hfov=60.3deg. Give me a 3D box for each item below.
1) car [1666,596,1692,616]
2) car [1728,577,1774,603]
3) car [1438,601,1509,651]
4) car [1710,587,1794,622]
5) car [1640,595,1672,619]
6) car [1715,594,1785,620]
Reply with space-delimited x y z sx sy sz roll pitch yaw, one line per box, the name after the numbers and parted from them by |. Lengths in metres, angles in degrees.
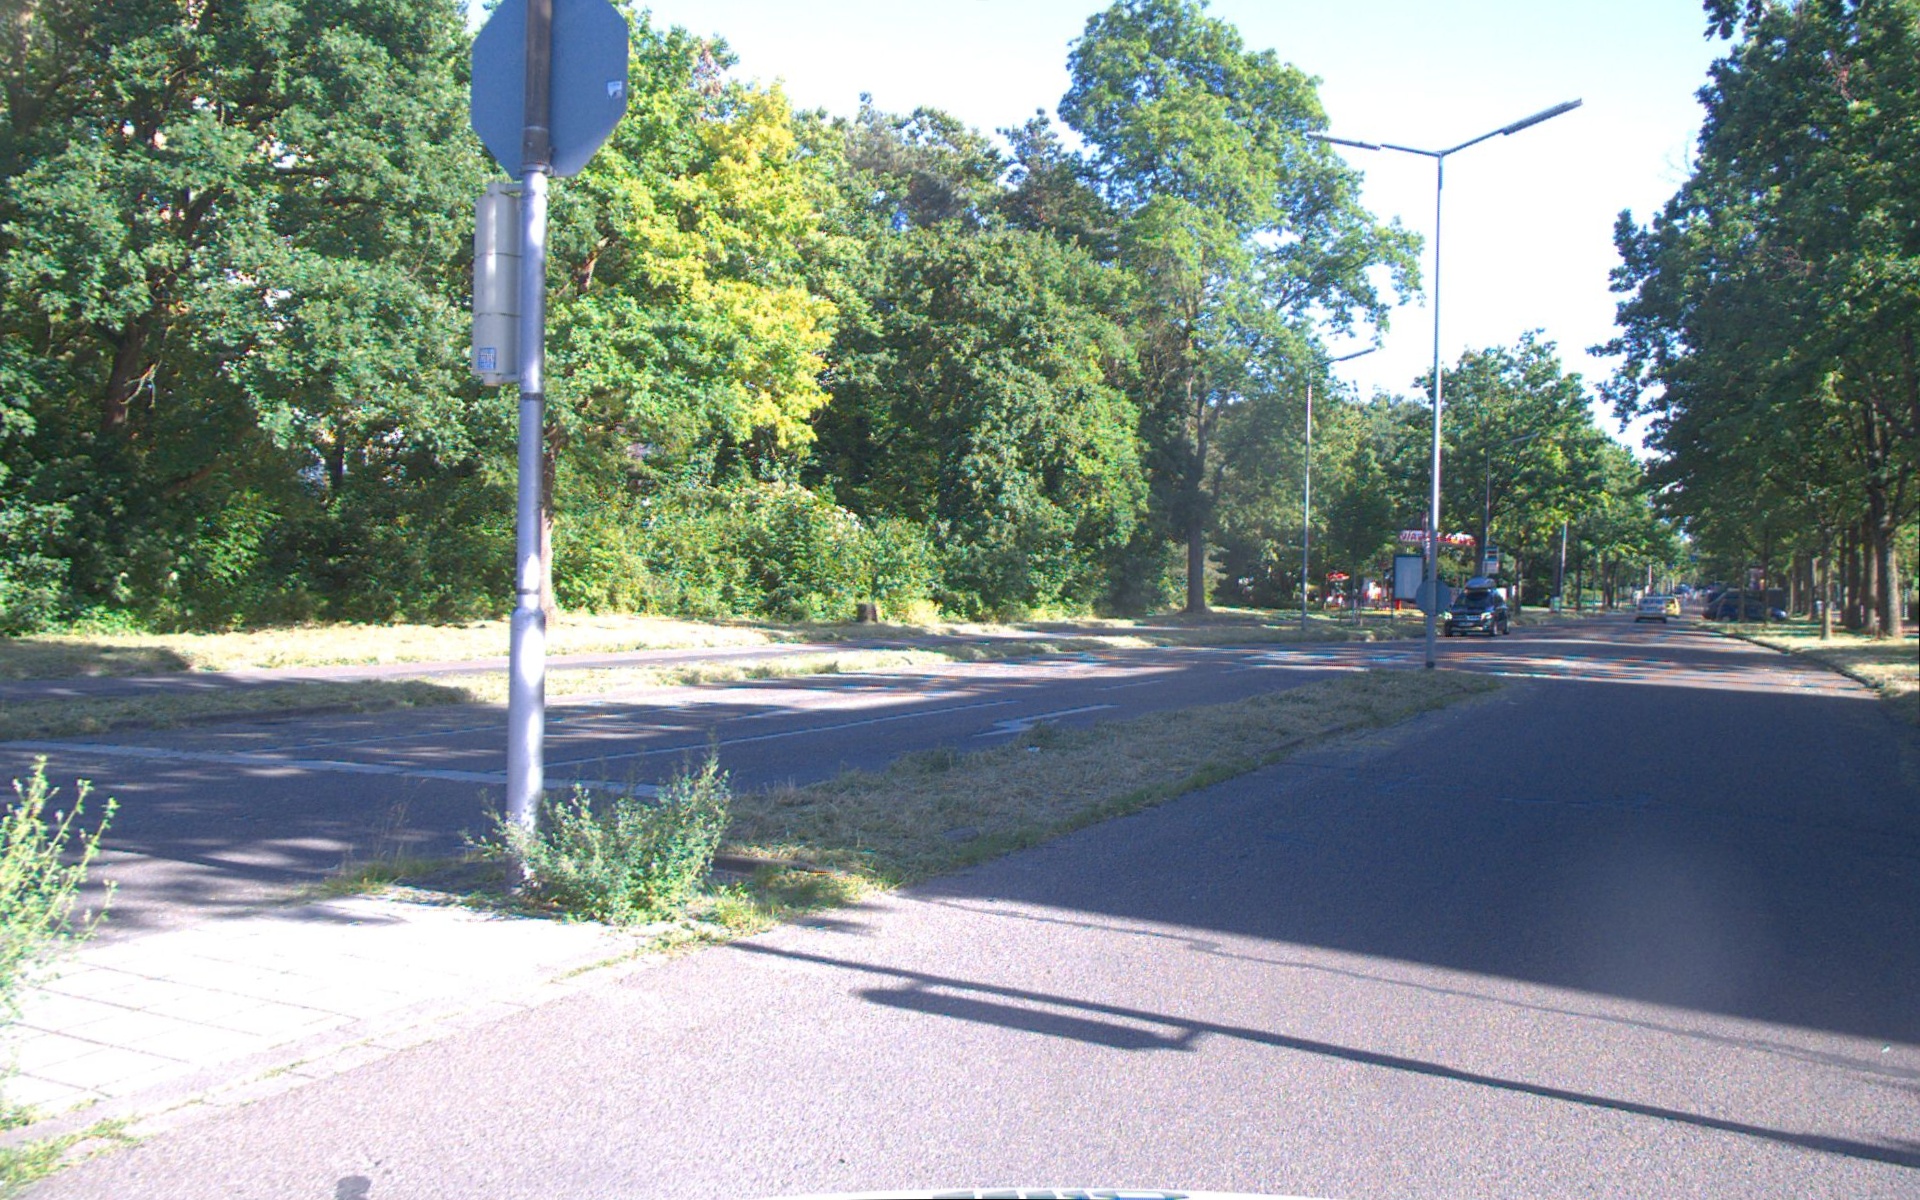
50.606 0.408 116.421 1.627 1.360 3.663 1 -1 23 | car
68.214 -0.890 142.663 3.496 2.087 1.632 1 -4 24 | car
19.142 0.928 61.535 1.804 1.738 4.500 0 0 27 | car
46.829 0.266 97.902 4.412 1.987 1.686 1 -1 24 | car
39.970 0.409 94.967 1.627 1.360 3.663 1 -1 23 | car
45.489 0.383 95.273 3.580 1.422 1.317 1 -1 24 | car
